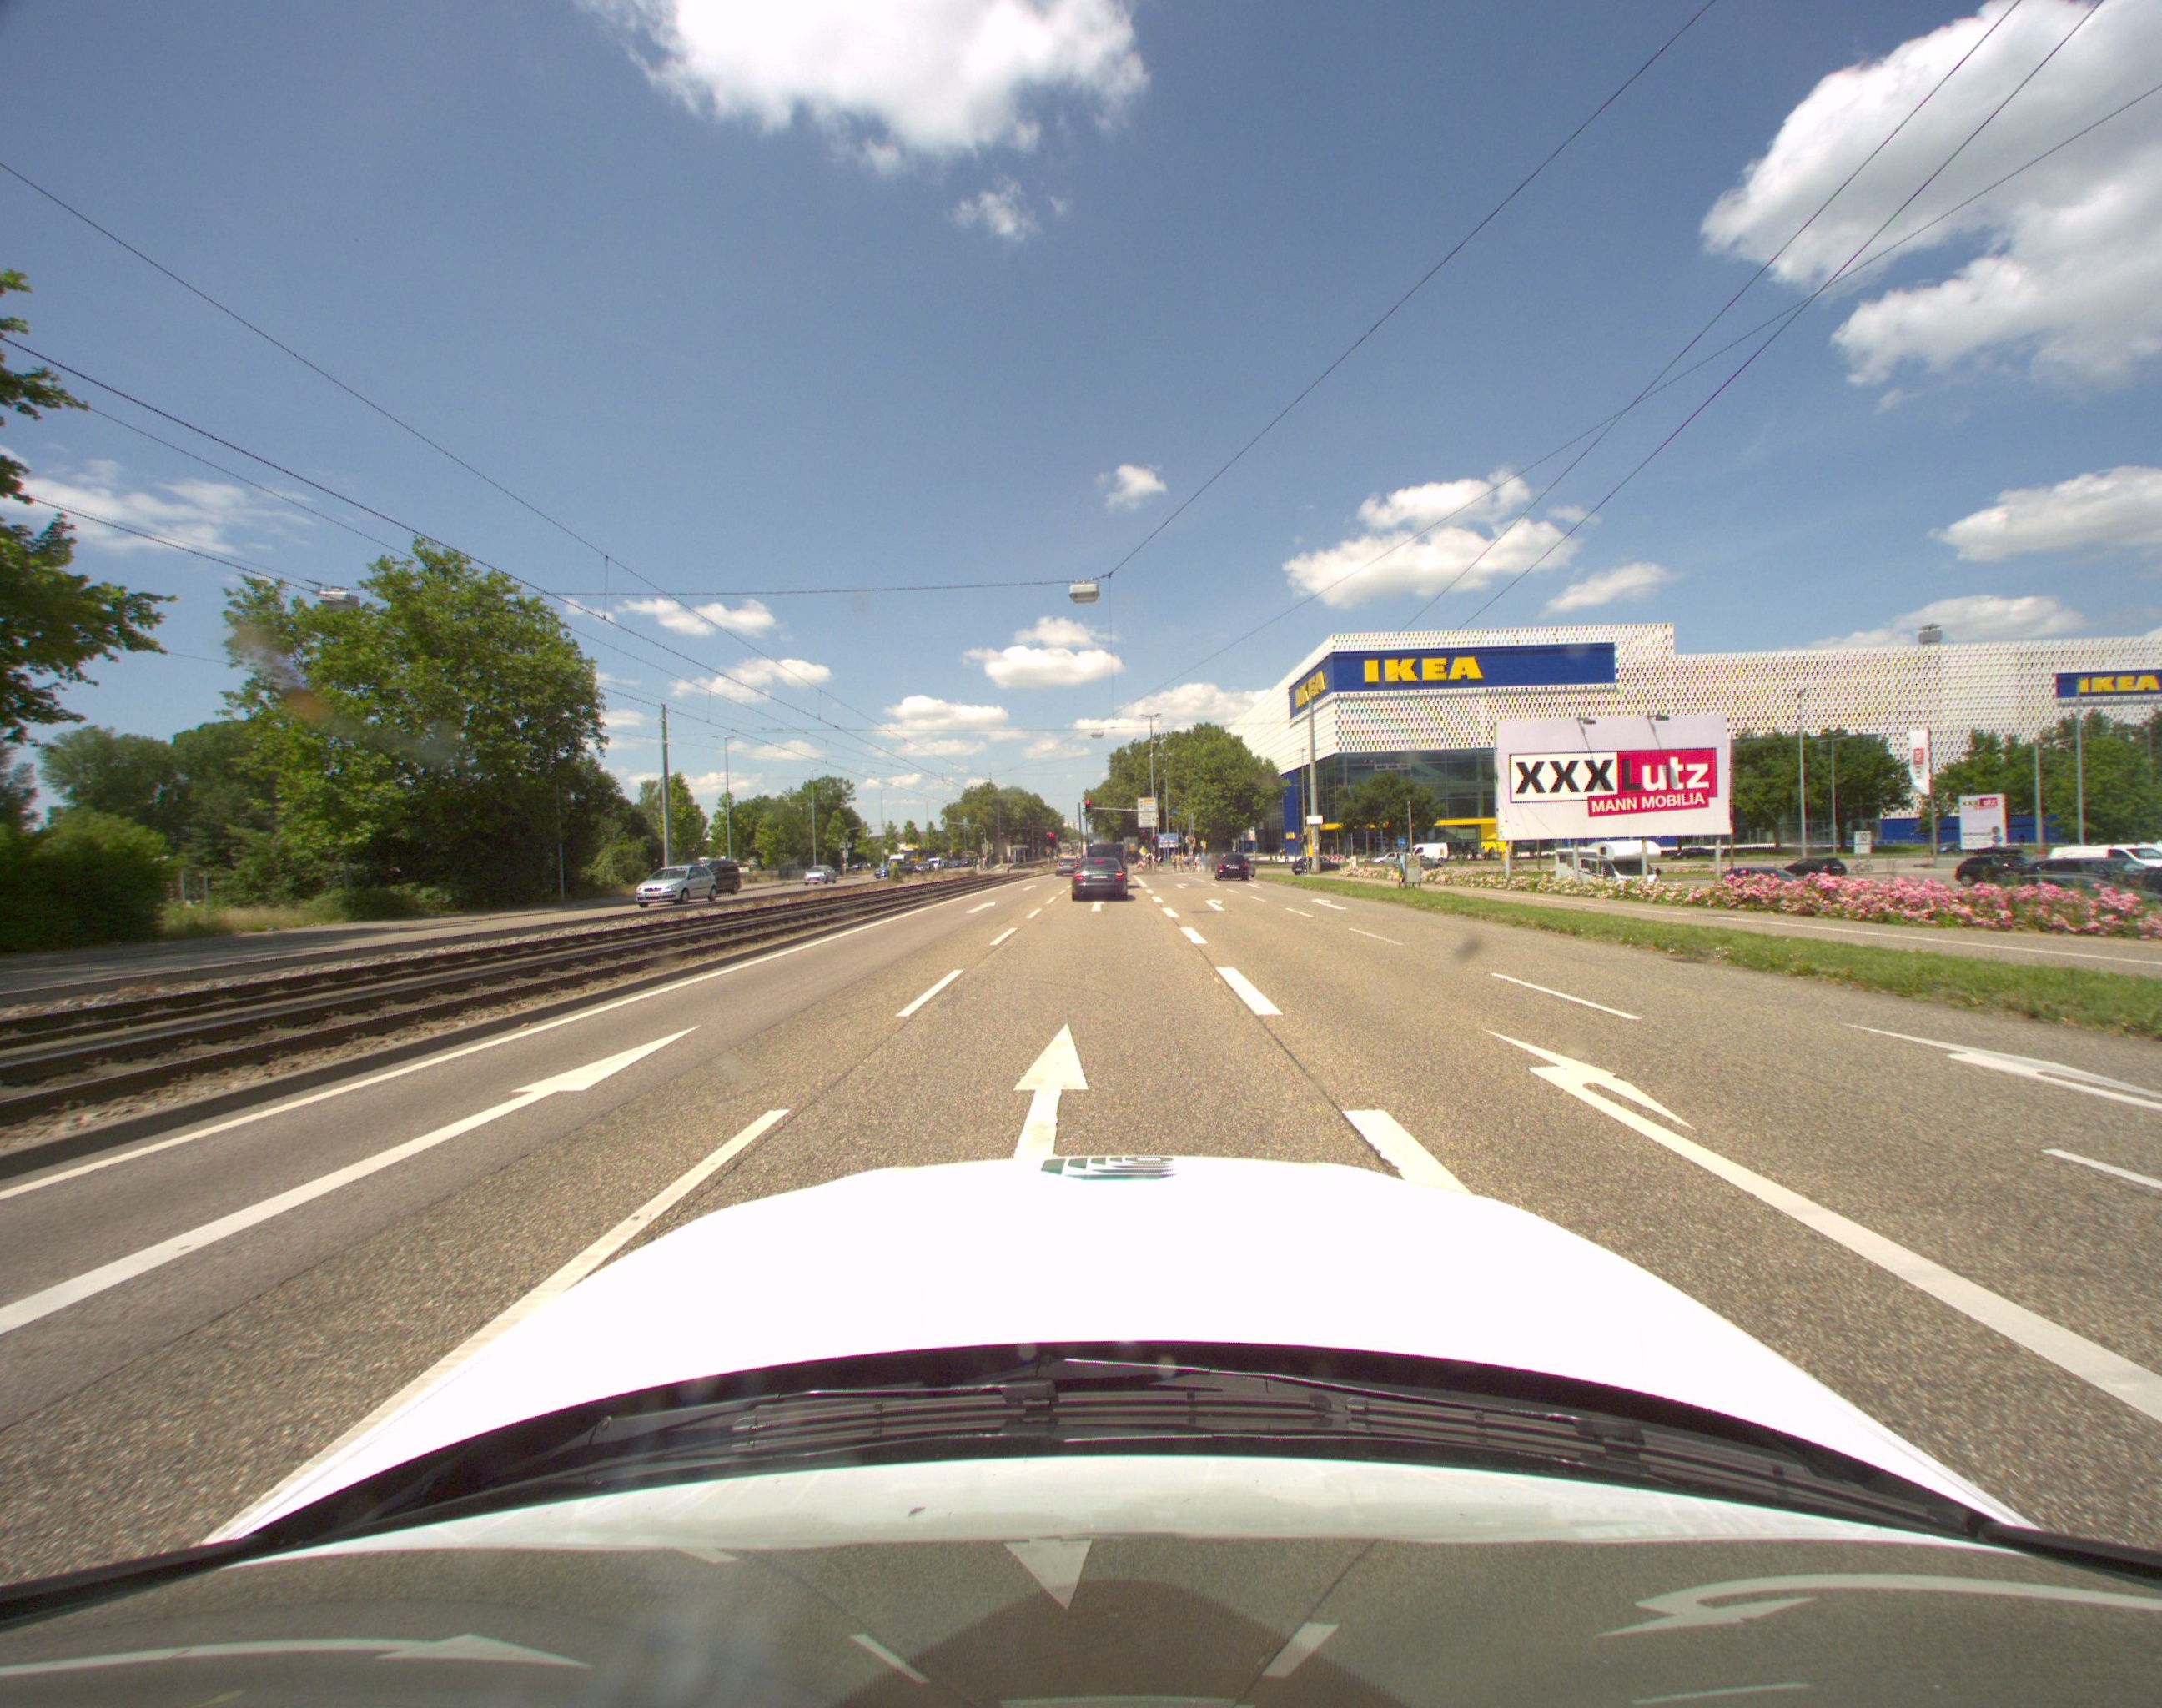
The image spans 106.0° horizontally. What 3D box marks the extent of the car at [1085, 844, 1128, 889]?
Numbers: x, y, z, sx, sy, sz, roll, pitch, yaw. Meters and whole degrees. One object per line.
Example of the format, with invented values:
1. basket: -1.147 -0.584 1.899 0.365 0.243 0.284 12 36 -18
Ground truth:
1. car: 1.169 0.537 37.385 1.830 1.950 4.001 -1 0 2

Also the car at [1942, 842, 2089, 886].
1. car: 48.009 0.495 42.043 1.986 2.134 5.003 0 0 2

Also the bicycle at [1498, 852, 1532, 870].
1. bicycle: 37.766 0.618 70.929 2.410 1.481 0.990 -1 0 6

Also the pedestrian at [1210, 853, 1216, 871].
1. pedestrian: 12.172 0.704 74.905 0.518 1.670 0.495 -1 0 5

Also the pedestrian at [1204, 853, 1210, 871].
1. pedestrian: 11.559 0.740 74.932 0.501 1.635 0.449 -1 0 4

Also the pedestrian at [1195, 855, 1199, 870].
1. pedestrian: 10.386 0.784 73.064 0.371 1.304 0.365 -1 0 5

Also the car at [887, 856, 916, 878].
1. car: -23.545 1.621 106.952 2.235 2.589 6.235 -3 0 1

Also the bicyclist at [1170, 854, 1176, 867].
1. bicyclist: 8.476 0.558 74.805 0.468 1.193 0.792 -1 -1 5

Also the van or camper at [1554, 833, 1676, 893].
1. van or camper: 28.834 0.457 44.427 2.494 3.020 7.235 0 0 6

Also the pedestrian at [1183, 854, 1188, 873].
1. pedestrian: 9.355 0.849 72.986 0.443 1.635 0.430 -1 0 5

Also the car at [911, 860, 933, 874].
1. car: -20.455 1.648 105.130 1.815 1.670 4.463 0 0 2

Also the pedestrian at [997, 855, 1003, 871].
1. pedestrian: -10.541 1.163 106.418 0.683 2.014 0.572 -1 -1 -3

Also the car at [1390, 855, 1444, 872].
1. car: 30.537 0.888 74.001 4.137 1.486 1.991 0 0 -14

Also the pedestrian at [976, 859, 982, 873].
1. pedestrian: -12.073 1.406 96.539 0.683 1.637 0.572 -1 -1 -2

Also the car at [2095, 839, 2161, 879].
1. car: 55.466 0.244 41.283 1.986 2.007 5.003 0 0 2

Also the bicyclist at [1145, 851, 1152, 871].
1. bicyclist: 6.083 0.616 73.311 0.526 1.789 1.088 -1 -1 2

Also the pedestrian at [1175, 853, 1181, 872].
1. pedestrian: 8.692 0.758 73.053 0.551 1.635 0.433 -1 0 4

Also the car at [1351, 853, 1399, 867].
1. car: 31.472 0.620 87.283 4.475 1.486 2.003 0 0 5

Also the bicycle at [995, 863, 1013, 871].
1. bicycle: -9.182 1.554 97.206 2.054 0.925 0.751 -1 0 -8

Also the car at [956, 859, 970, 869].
1. car: -21.665 1.819 149.998 1.811 1.883 4.001 -1 0 2

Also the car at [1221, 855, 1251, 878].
1. car: 10.678 0.839 56.224 1.981 1.486 4.178 0 0 10

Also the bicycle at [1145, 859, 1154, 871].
1. bicycle: 6.183 0.997 73.650 0.685 0.993 2.753 0 0 2

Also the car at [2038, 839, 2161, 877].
1. car: 52.909 0.180 41.747 1.986 1.852 5.003 0 0 2

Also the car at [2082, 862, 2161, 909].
1. car: 37.202 1.065 27.015 1.986 1.550 5.003 0 0 2

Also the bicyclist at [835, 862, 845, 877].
1. bicyclist: -28.766 1.893 97.091 1.116 1.774 0.340 0 -1 -3

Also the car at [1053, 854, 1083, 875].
1. car: -0.956 0.767 60.891 1.986 1.486 4.002 0 0 2

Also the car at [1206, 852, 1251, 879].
1. car: 8.428 0.618 46.762 1.986 1.486 4.002 0 0 2

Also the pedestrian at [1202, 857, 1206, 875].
1. pedestrian: 10.986 1.057 72.900 0.319 1.635 0.377 -1 0 5

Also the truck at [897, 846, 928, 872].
1. truck: -23.529 0.687 114.211 2.757 3.569 6.442 -1 0 2

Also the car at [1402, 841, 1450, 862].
1. car: 39.463 -0.306 93.165 4.728 2.309 2.006 -1 0 11

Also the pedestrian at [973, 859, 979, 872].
1. pedestrian: -12.536 1.373 97.477 0.683 1.443 0.572 -1 -1 -2

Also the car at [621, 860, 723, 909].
1. car: -15.286 1.096 30.702 1.680 1.583 4.058 -4 0 0

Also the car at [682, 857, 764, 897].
1. car: -18.823 1.164 43.076 1.987 1.830 4.969 -3 0 0

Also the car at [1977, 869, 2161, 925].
1. car: 32.618 1.328 26.586 1.986 1.496 4.305 -4 0 2

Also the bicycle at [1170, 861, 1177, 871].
1. bicycle: 8.504 1.064 74.839 0.547 0.877 1.699 -1 0 5

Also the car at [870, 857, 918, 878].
1. car: -18.032 1.257 78.807 1.974 1.918 4.438 0 0 33

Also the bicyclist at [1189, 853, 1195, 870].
1. bicyclist: 11.592 0.737 84.840 0.525 1.764 0.831 -1 -1 15

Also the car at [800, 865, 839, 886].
1. car: -19.873 1.627 62.091 1.818 1.416 3.879 -4 0 -3

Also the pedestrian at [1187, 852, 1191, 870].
1. pedestrian: 9.937 0.679 75.085 0.379 1.635 0.377 -1 0 5

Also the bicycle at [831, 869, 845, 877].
1. bicycle: -28.942 2.284 97.086 1.487 0.987 0.485 0 0 -2

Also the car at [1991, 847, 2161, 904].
1. car: 39.955 0.804 32.389 1.986 2.013 5.003 -2 0 2

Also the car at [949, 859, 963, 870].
1. car: -21.967 1.771 143.269 1.811 1.883 4.001 -1 0 2

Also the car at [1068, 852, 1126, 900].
1. car: 0.586 0.692 27.666 1.786 1.455 4.002 -2 0 2

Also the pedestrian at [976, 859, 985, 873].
1. pedestrian: -12.344 1.456 100.186 0.816 1.720 0.779 -1 -1 24

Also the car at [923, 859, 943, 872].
1. car: -20.376 1.579 112.298 1.814 1.670 4.465 0 0 3

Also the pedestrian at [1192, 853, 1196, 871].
1. pedestrian: 10.428 0.758 75.052 0.337 1.635 0.377 -1 0 5

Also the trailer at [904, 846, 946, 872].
1. trailer: -23.264 0.723 122.218 2.757 3.518 15.883 -1 0 2
